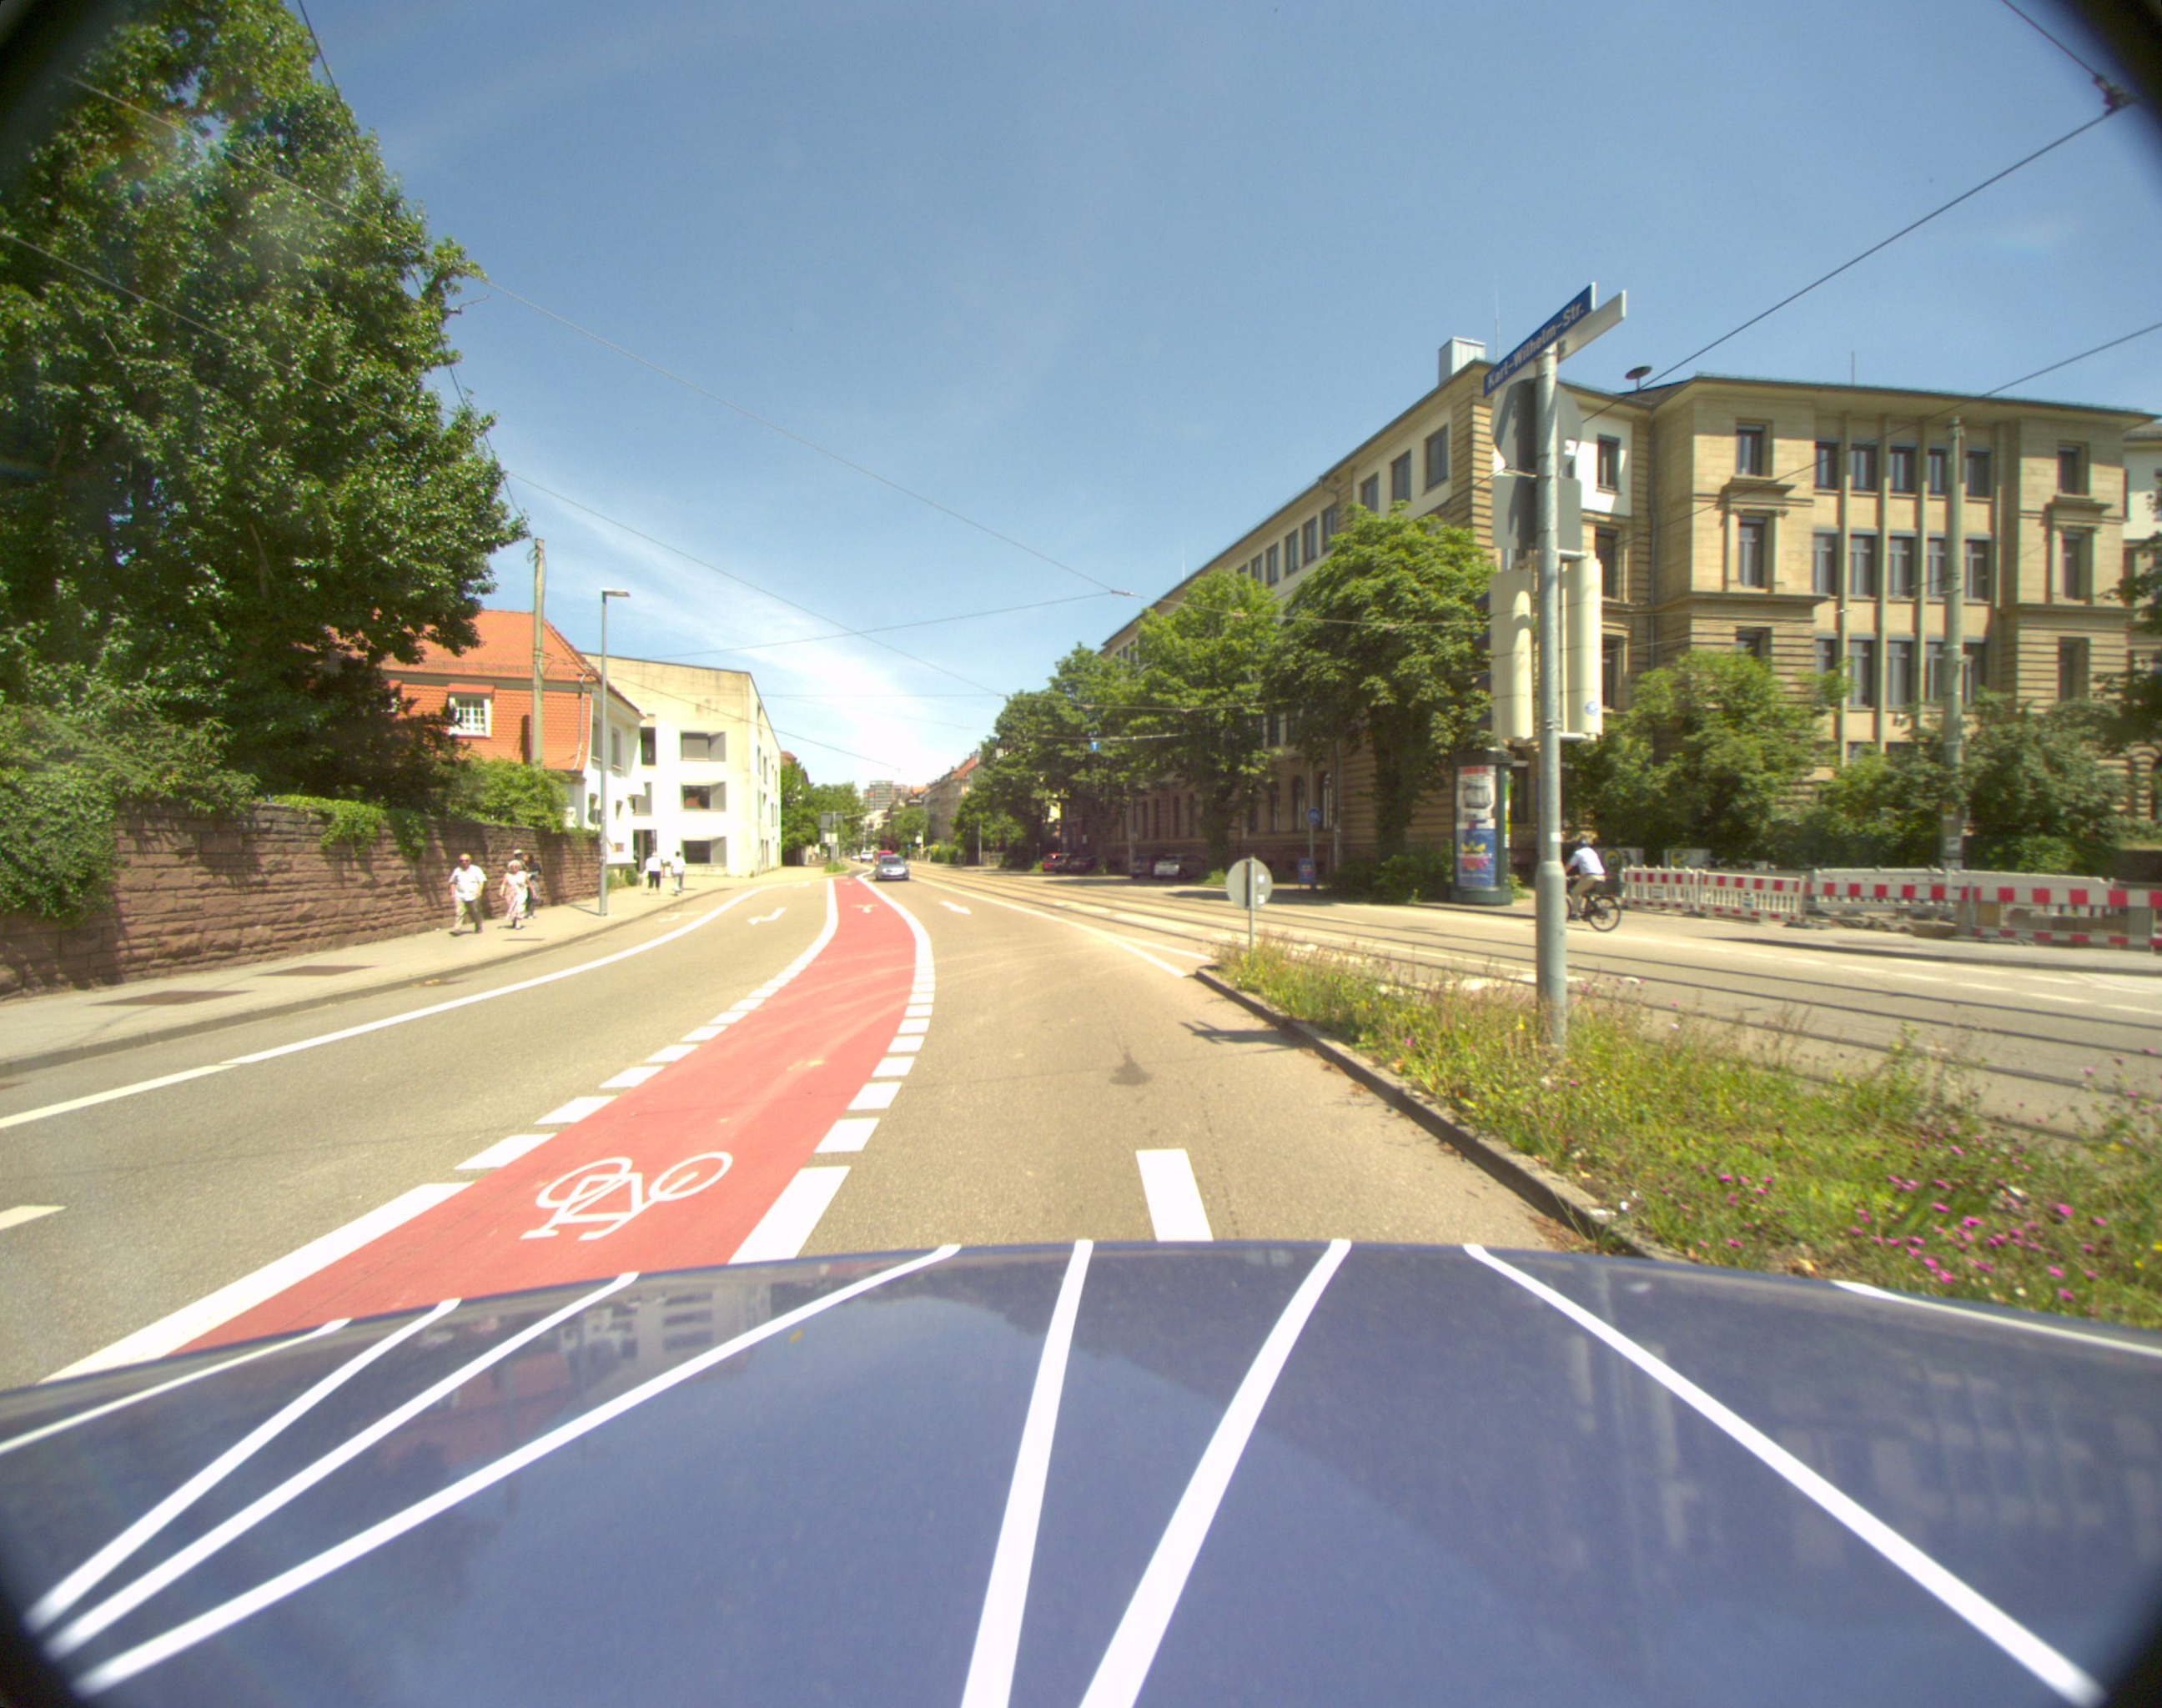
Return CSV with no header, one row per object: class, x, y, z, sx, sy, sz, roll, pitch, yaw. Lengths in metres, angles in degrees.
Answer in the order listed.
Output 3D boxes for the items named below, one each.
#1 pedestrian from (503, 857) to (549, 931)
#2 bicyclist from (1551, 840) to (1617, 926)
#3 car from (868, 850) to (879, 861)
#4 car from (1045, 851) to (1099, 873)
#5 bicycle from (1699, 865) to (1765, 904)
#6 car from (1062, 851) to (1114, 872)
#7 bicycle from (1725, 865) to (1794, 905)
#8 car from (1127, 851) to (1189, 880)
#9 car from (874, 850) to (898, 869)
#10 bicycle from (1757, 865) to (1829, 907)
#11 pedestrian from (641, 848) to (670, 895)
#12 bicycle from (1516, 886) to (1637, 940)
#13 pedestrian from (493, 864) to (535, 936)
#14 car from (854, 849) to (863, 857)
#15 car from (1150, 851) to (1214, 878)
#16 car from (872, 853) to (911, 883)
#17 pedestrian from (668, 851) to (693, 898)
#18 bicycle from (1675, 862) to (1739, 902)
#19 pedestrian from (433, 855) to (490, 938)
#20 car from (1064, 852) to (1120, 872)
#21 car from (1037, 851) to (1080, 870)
pedestrian,-13.667,0.971,18.728,0.719,1.763,0.628,-1,0,-20
bicyclist,10.257,0.579,15.509,0.824,1.700,0.769,-1,1,-16
car,-33.998,0.162,124.338,1.622,1.700,3.423,-1,2,-17
car,-0.671,0.594,59.767,1.664,1.575,4.330,0,2,43
bicycle,19.086,0.872,22.282,1.739,1.096,0.504,0,1,-11
car,0.550,0.538,57.781,1.788,1.568,3.826,0,1,43
bicycle,19.235,0.867,21.544,1.739,1.096,0.504,0,1,-11
car,4.568,0.634,44.854,1.664,1.511,3.684,0,2,44
car,-18.407,0.490,71.535,1.878,1.638,3.772,-1,2,-19
bicycle,19.419,0.866,20.729,1.739,1.096,0.504,0,1,-11
pedestrian,-16.308,0.663,29.142,0.817,1.797,0.699,0,1,-14
bicycle,10.192,1.180,15.772,0.505,0.909,2.367,-1,0,-15
pedestrian,-12.291,0.985,16.494,0.517,1.524,0.597,0,1,-13
car,-50.321,-0.266,171.607,1.885,1.675,3.362,-1,2,-16
car,5.629,0.549,42.192,1.697,1.398,3.556,0,1,44
car,-11.044,0.753,44.164,1.896,1.561,4.030,-1,2,-18
pedestrian,-15.477,0.784,29.371,0.679,1.797,0.747,0,1,-14
bicycle,18.953,0.834,23.017,1.688,1.141,0.463,-1,2,-8
pedestrian,-12.415,0.833,15.242,0.663,1.638,0.623,0,1,-13
car,0.798,0.544,54.120,3.942,1.366,1.664,0,0,-44
car,-1.883,0.500,63.890,3.359,1.507,1.664,-2,2,-44
